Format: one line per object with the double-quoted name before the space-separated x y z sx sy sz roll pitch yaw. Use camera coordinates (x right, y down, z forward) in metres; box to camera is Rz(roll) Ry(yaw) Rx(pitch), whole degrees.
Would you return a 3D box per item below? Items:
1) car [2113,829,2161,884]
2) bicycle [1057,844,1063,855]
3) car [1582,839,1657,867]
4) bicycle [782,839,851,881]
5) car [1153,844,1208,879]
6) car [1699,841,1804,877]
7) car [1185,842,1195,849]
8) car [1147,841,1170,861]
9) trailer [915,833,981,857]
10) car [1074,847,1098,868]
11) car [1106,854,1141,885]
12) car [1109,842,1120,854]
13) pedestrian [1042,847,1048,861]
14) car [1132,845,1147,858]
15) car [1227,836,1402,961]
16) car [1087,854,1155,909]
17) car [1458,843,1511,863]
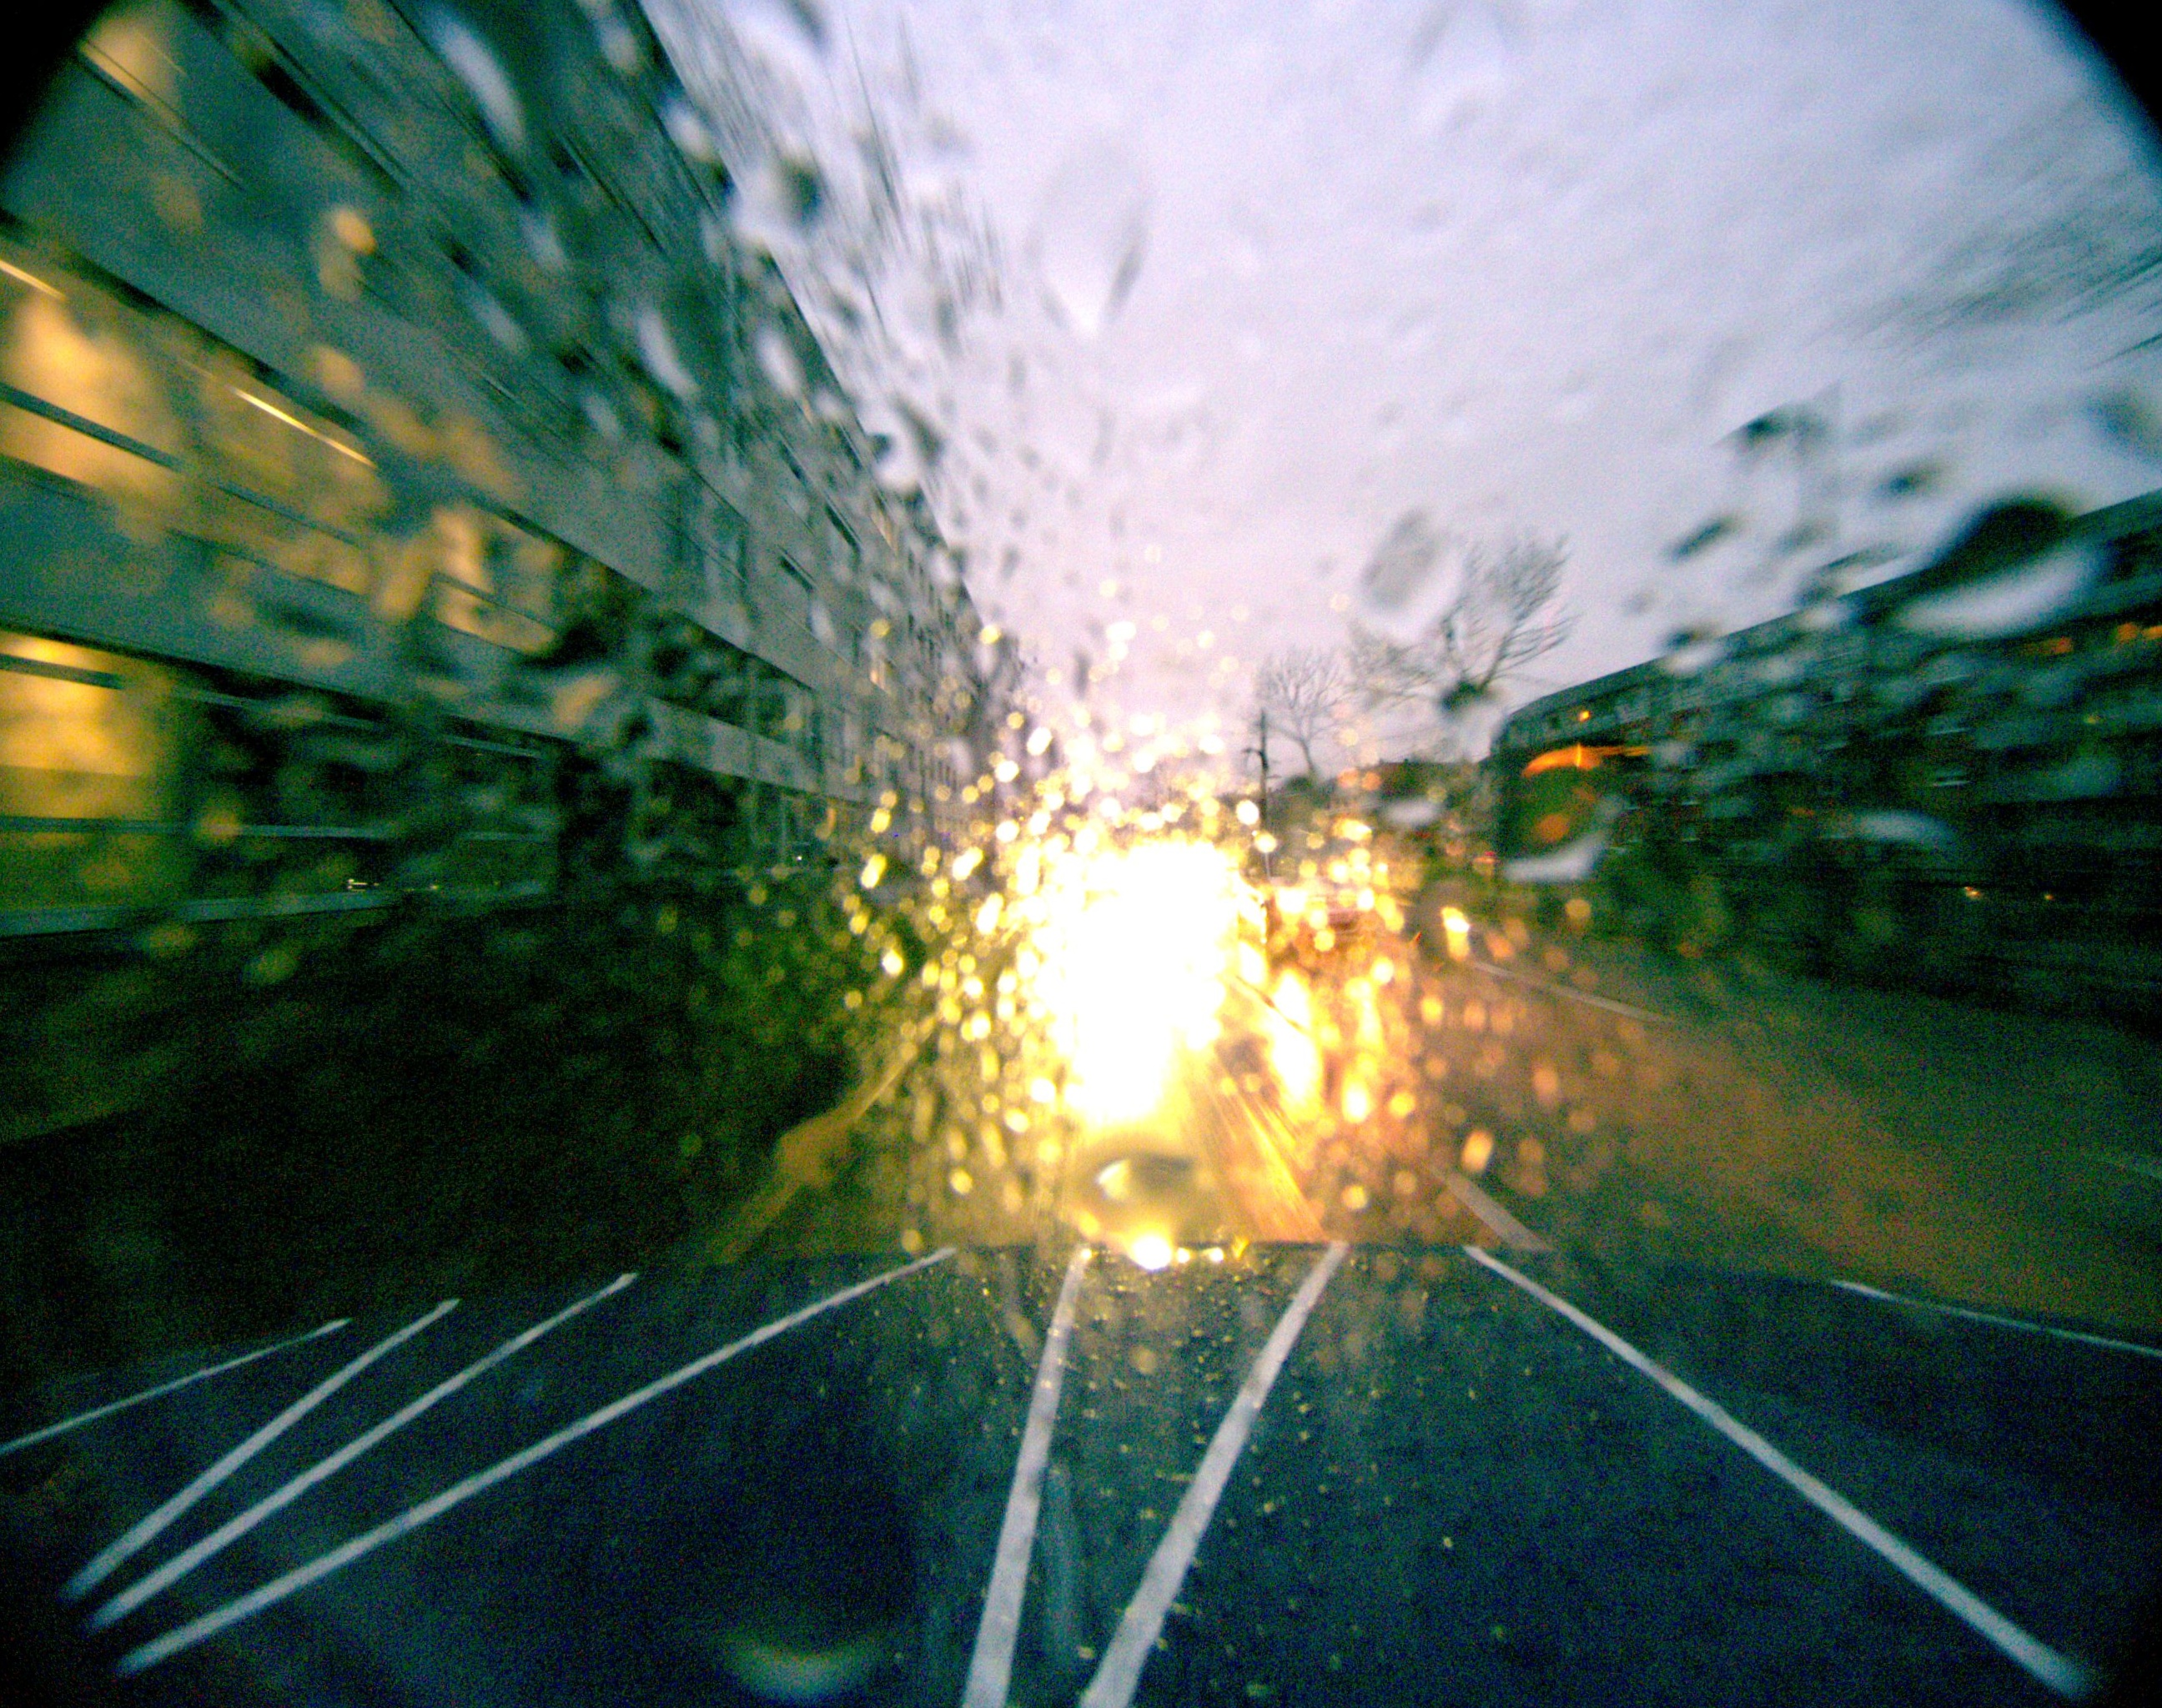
"car" 33.271 0.104 21.814 1.729 1.636 4.150 -1 2 3
"bicycle" -2.299 -0.497 83.386 0.552 1.109 2.165 1 2 0
"car" 33.444 -0.098 47.338 1.729 1.535 4.149 -2 2 -1
"bicycle" -8.746 0.193 25.233 0.823 1.266 2.461 4 1 16
"car" 4.662 0.316 36.179 1.975 1.493 4.090 -2 1 -1
"car" 33.524 0.213 38.169 1.729 1.636 4.150 -1 2 3
"car" 25.138 -2.030 175.365 1.527 1.630 3.747 -1 2 -2
"car" 7.025 -0.291 69.215 1.710 1.647 3.753 -2 2 1
"trailer" -11.303 -0.748 64.789 5.078 1.900 2.131 0 0 6
"car" 0.350 0.217 52.982 1.595 1.386 3.486 1 0 0
"car" 2.401 0.848 43.728 1.764 1.520 3.733 -2 2 0
"car" 4.769 -0.931 107.931 1.493 1.585 3.999 -2 2 1
"pedestrian" -4.423 -0.002 93.753 0.739 1.726 0.702 -2 2 -3
"car" 6.836 -0.275 89.411 1.539 1.404 3.666 -2 2 1
"car" 3.613 0.581 12.527 2.020 1.668 4.001 -1 2 6
"car" 1.121 0.724 22.000 1.757 1.418 3.804 -1 0 2
"car" 29.803 -0.113 56.215 1.783 1.285 4.213 -1 2 2
